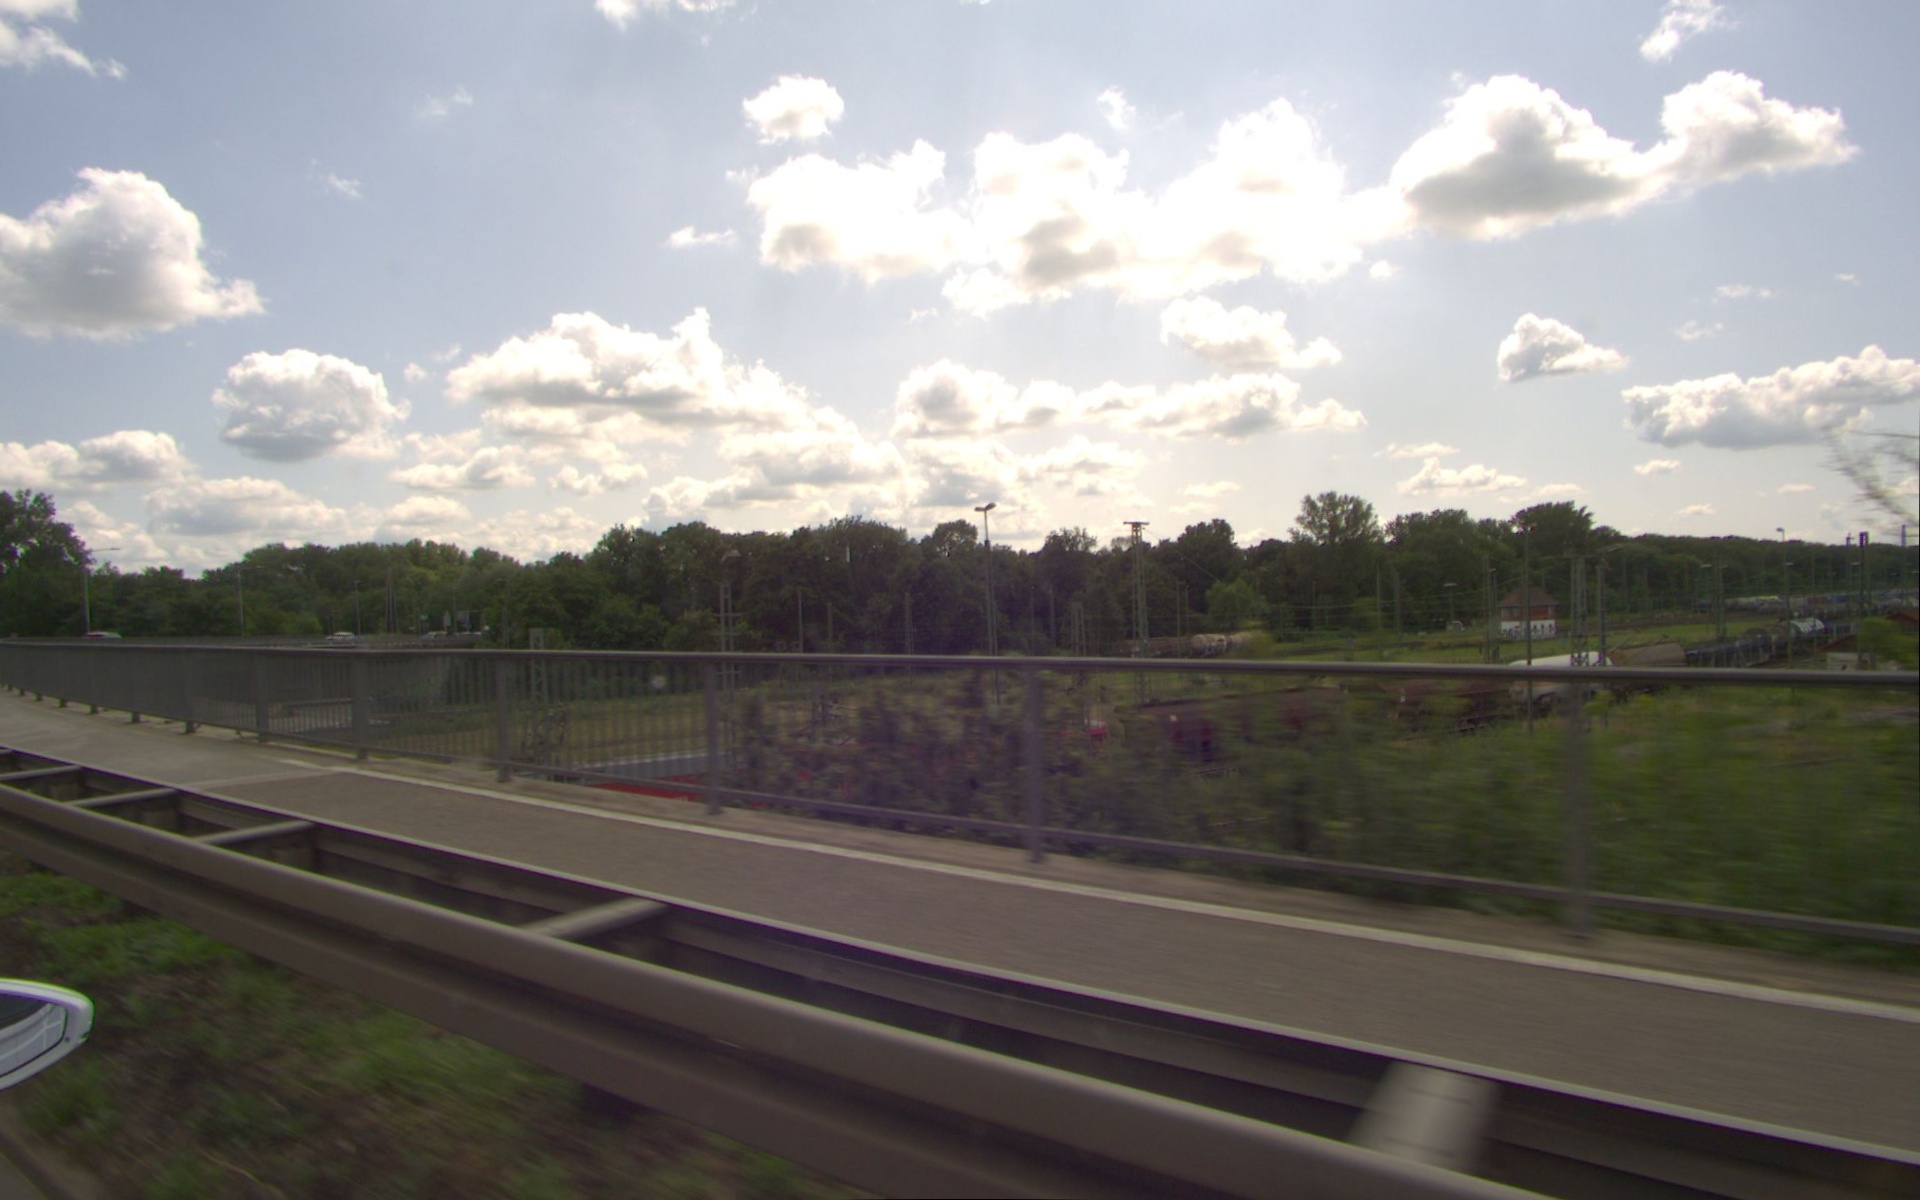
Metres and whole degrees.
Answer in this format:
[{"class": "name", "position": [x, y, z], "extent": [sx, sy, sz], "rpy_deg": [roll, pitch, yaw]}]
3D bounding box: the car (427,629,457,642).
[{"class": "car", "position": [-69.044, 4.717, 133.518], "extent": [1.705, 1.672, 3.857], "rpy_deg": [0, -2, 5]}]

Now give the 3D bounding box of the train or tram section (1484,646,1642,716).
[{"class": "train or tram section", "position": [45.036, 5.863, 74.349], "extent": [16.741, 4.203, 3.201], "rpy_deg": [0, -4, -34]}]

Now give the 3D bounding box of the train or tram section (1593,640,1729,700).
[{"class": "train or tram section", "position": [59.040, 5.771, 84.005], "extent": [17.464, 4.203, 3.195], "rpy_deg": [0, -4, -34]}]

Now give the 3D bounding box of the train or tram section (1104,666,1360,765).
[{"class": "train or tram section", "position": [15.357, 6.107, 55.134], "extent": [16.378, 4.203, 3.126], "rpy_deg": [-1, -4, -32]}]

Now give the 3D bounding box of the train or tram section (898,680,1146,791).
[{"class": "train or tram section", "position": [3.158, 6.240, 47.793], "extent": [11.890, 4.203, 3.117], "rpy_deg": [-1, -4, -30]}]

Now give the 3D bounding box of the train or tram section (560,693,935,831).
[{"class": "train or tram section", "position": [-8.448, 6.367, 41.470], "extent": [14.809, 4.203, 3.119], "rpy_deg": [-1, -3, -27]}]

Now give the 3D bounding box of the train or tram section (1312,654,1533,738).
[{"class": "train or tram section", "position": [30.196, 5.984, 64.574], "extent": [18.640, 4.203, 3.205], "rpy_deg": [0, -4, -33]}]
